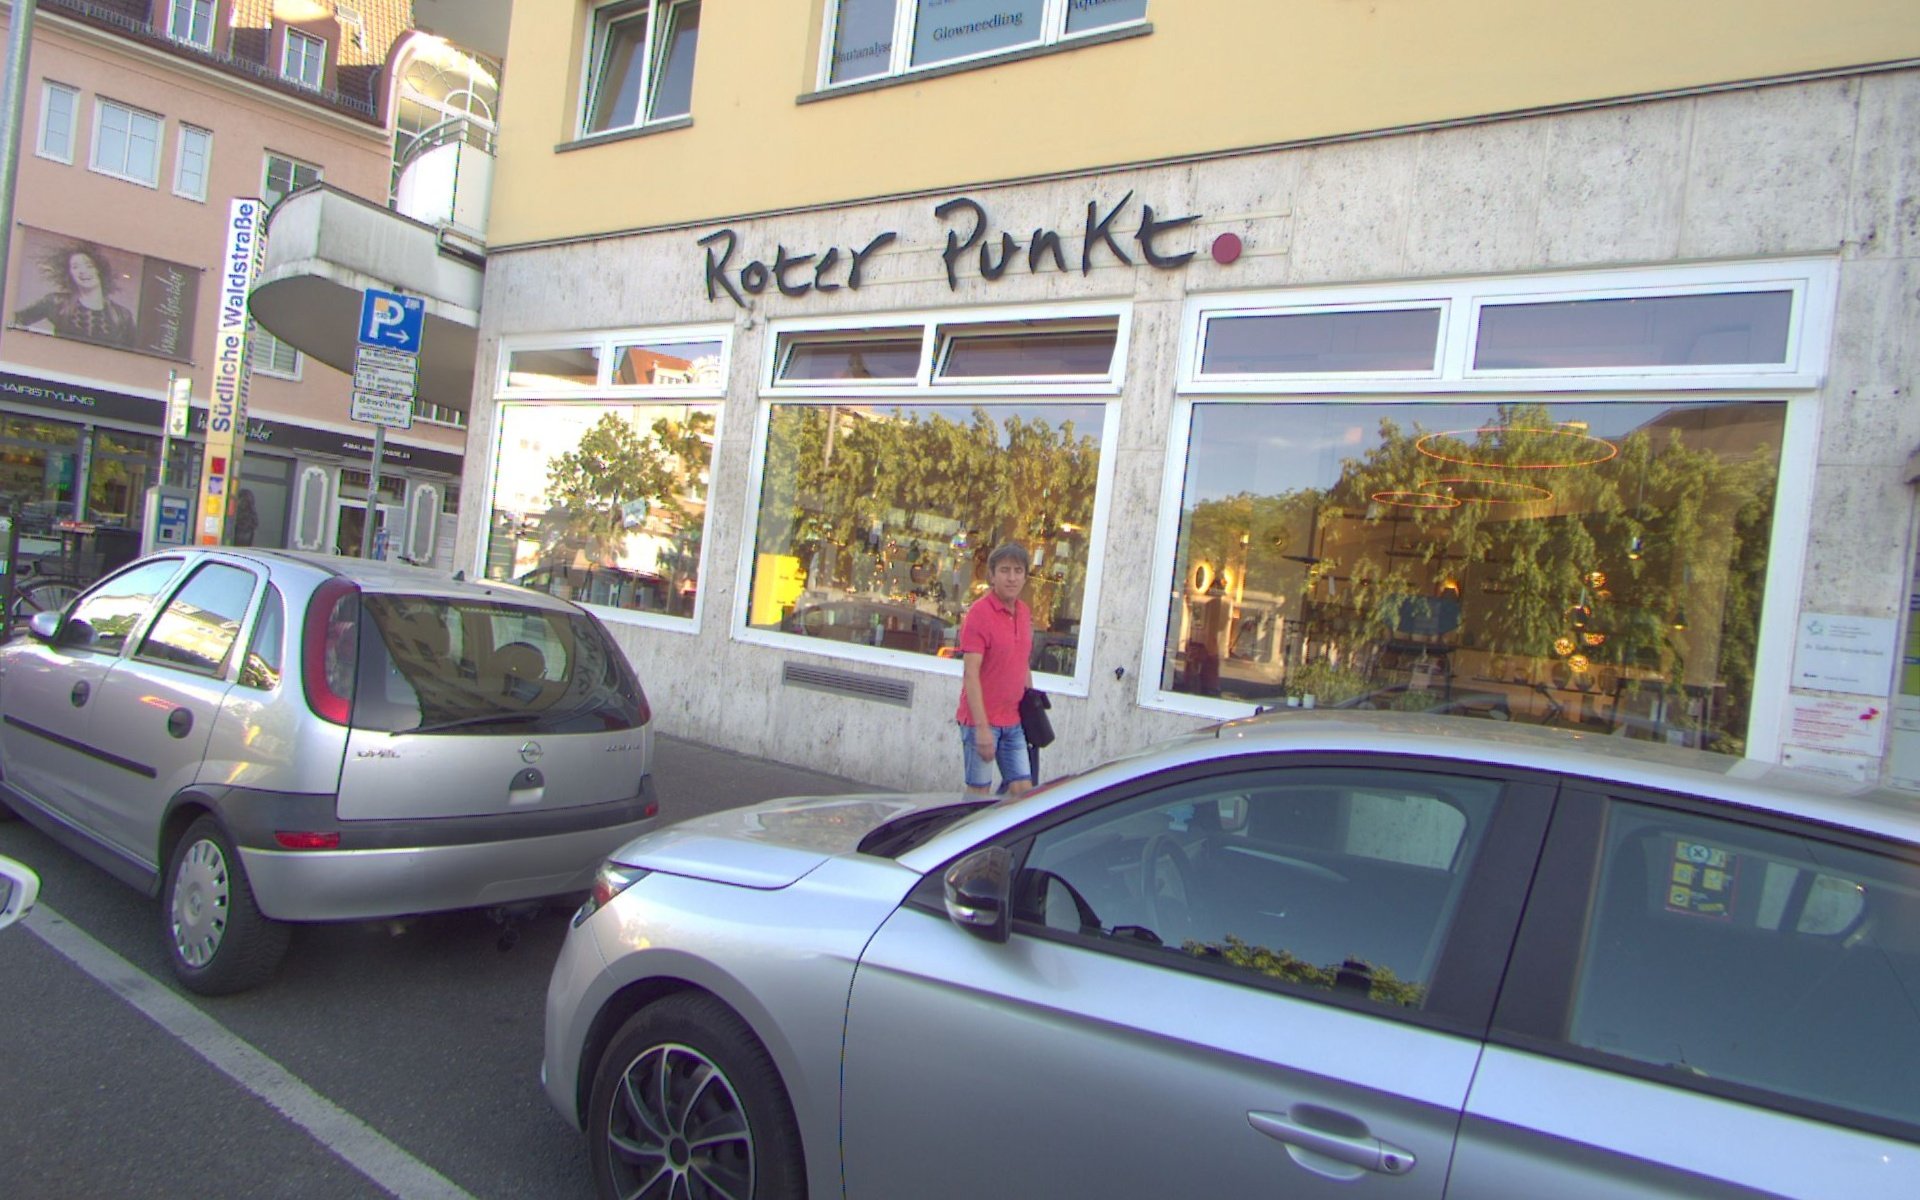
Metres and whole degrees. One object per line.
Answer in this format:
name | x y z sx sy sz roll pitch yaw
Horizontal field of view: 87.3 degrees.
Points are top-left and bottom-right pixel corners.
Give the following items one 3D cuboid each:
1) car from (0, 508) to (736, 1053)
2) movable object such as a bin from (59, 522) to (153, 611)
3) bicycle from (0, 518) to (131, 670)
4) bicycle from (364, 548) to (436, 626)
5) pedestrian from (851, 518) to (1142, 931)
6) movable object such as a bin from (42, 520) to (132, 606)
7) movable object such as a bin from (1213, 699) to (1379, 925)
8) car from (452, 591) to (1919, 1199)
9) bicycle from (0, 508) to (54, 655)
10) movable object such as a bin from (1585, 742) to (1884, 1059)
car | -2.944 0.483 4.461 3.583 1.397 1.616 7 -2 32
movable object such as a bin | -11.904 -0.465 14.028 0.617 1.105 0.754 6 -1 34
bicycle | -8.108 -0.080 8.227 0.681 1.208 1.885 8 1 37
bicycle | -10.033 -0.250 17.985 0.656 1.213 2.187 7 -1 -39
pedestrian | 0.182 0.555 5.091 0.994 1.807 0.862 7 2 40
movable object such as a bin | -12.440 -0.523 14.349 0.617 1.105 0.734 6 -1 34
movable object such as a bin | 1.854 1.104 5.499 0.592 1.041 0.811 7 0 32
car | 0.776 0.931 2.309 3.643 1.415 1.653 7 -1 30
bicycle | -9.113 -0.232 8.701 0.778 1.284 1.721 7 1 37
movable object such as a bin | 3.368 1.252 4.484 0.879 1.066 0.751 7 0 32
